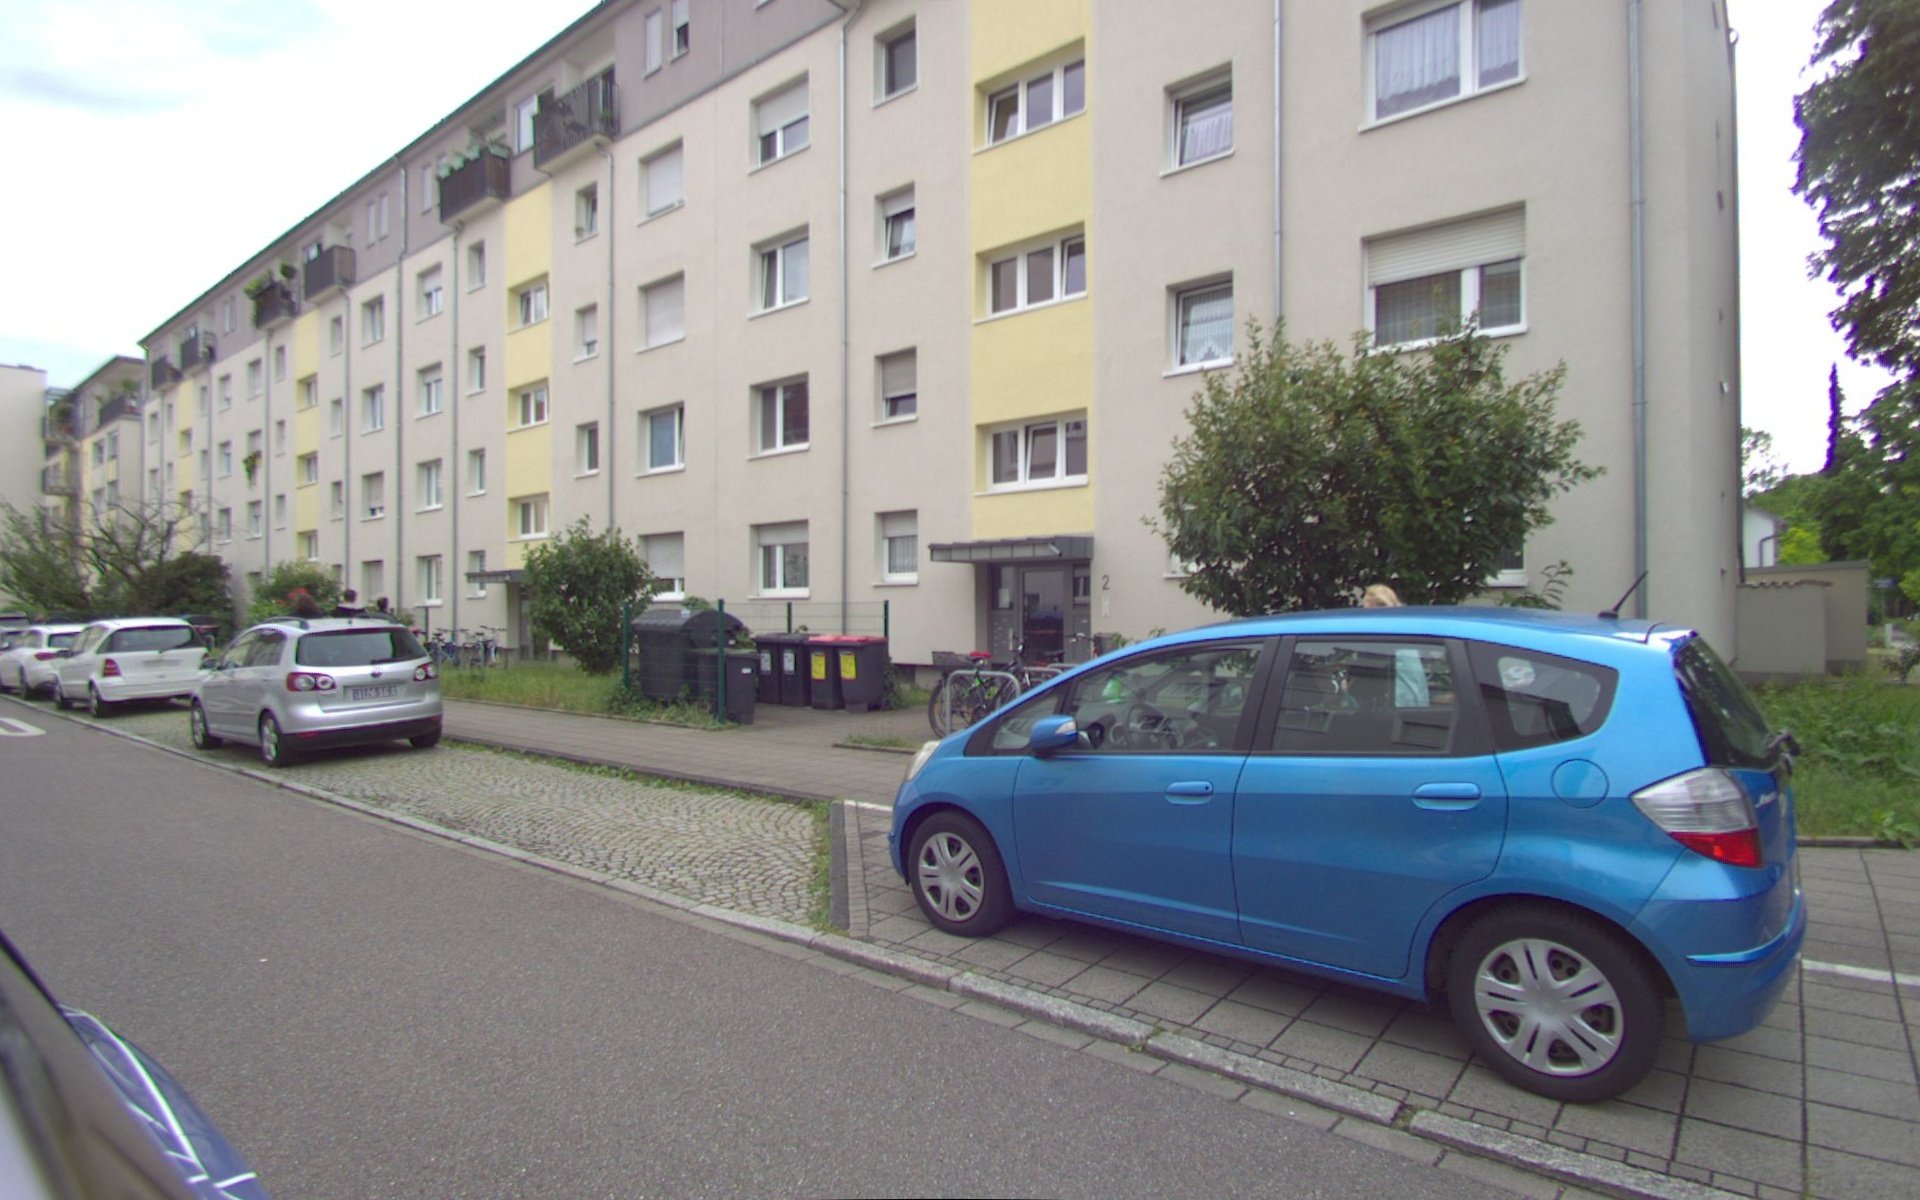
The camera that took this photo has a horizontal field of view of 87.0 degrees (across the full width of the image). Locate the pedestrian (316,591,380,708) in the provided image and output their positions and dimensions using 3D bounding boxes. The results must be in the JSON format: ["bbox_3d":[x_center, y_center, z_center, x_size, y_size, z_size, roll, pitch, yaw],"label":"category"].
[{"bbox_3d":[-10.120,0.801,16.747,0.762,1.868,0.699,-2,-2,40],"label":"pedestrian"}]

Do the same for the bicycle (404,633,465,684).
[{"bbox_3d":[-10.971,1.203,21.101,1.753,1.032,0.473,-2,-2,39],"label":"bicycle"}]

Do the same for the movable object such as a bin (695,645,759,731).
[{"bbox_3d":[-2.933,1.089,12.732,0.597,1.041,0.532,-2,-2,38],"label":"movable object such as a bin"}]

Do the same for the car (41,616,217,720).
[{"bbox_3d":[-14.741,1.129,17.895,3.723,1.651,1.669,-1,-2,39],"label":"car"}]

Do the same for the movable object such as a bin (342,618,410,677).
[{"bbox_3d":[-14.475,1.150,25.093,1.187,1.385,1.047,0,0,35],"label":"movable object such as a bin"}]

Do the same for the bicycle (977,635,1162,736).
[{"bbox_3d":[1.240,0.955,11.861,2.174,1.079,0.651,-2,-2,41],"label":"bicycle"}]

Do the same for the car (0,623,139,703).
[{"bbox_3d":[-19.113,1.277,21.389,4.680,1.521,1.702,-2,-2,37],"label":"car"}]

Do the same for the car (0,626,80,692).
[{"bbox_3d":[-23.131,1.376,24.654,4.476,1.464,1.709,-1,-1,37],"label":"car"}]

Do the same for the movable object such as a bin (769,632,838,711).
[{"bbox_3d":[-2.338,1.045,15.137,0.597,1.125,0.834,-2,-2,37],"label":"movable object such as a bin"}]

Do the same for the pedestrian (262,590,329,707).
[{"bbox_3d":[-11.088,0.795,16.878,0.973,1.877,0.634,-2,0,40],"label":"pedestrian"}]

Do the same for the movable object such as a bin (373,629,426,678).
[{"bbox_3d":[-13.571,1.283,24.509,0.786,1.117,0.861,0,0,36],"label":"movable object such as a bin"}]

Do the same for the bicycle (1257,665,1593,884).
[{"bbox_3d":[2.835,1.001,6.334,1.819,1.128,0.530,-2,-2,45],"label":"bicycle"}]

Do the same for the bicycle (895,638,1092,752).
[{"bbox_3d":[0.301,0.944,10.603,2.120,1.076,0.650,-2,-2,41],"label":"bicycle"}]

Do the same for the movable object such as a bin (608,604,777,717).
[{"bbox_3d":[-3.692,0.792,13.988,1.669,1.432,1.573,-2,-2,39],"label":"movable object such as a bin"}]

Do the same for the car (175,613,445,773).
[{"bbox_3d":[-7.857,0.989,12.103,3.912,1.562,1.637,-2,0,40],"label":"car"}]

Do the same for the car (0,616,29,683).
[{"bbox_3d":[-27.743,1.400,28.531,4.447,1.793,1.555,-2,-2,39],"label":"car"}]

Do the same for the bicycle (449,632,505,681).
[{"bbox_3d":[-10.398,1.200,21.763,1.556,1.032,0.416,-2,-2,37],"label":"bicycle"}]

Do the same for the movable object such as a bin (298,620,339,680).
[{"bbox_3d":[-14.991,1.155,23.650,0.586,1.378,0.651,0,0,36],"label":"movable object such as a bin"}]

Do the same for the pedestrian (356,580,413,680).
[{"bbox_3d":[-9.848,0.507,17.306,0.802,1.669,0.608,-2,-2,40],"label":"pedestrian"}]

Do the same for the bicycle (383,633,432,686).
[{"bbox_3d":[-11.346,1.206,20.775,1.496,1.032,0.352,-2,-2,39],"label":"bicycle"}]

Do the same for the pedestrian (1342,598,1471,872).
[{"bbox_3d":[2.705,0.780,6.141,0.568,1.561,0.442,-2,-2,44],"label":"pedestrian"}]

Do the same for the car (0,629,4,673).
[{"bbox_3d":[-32.752,1.675,33.147,3.536,1.408,1.556,-2,-2,37],"label":"car"}]

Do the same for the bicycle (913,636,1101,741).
[{"bbox_3d":[0.488,0.952,11.436,2.174,1.079,0.651,-2,-2,41],"label":"bicycle"}]

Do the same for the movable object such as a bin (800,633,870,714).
[{"bbox_3d":[-1.816,1.045,14.726,0.597,1.125,0.834,-2,-2,37],"label":"movable object such as a bin"}]

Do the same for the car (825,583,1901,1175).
[{"bbox_3d":[1.396,0.741,4.505,3.953,1.473,1.713,-2,1,40],"label":"car"}]

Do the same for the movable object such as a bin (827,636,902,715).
[{"bbox_3d":[-1.345,1.044,14.270,0.633,1.059,0.855,-2,-2,38],"label":"movable object such as a bin"}]
